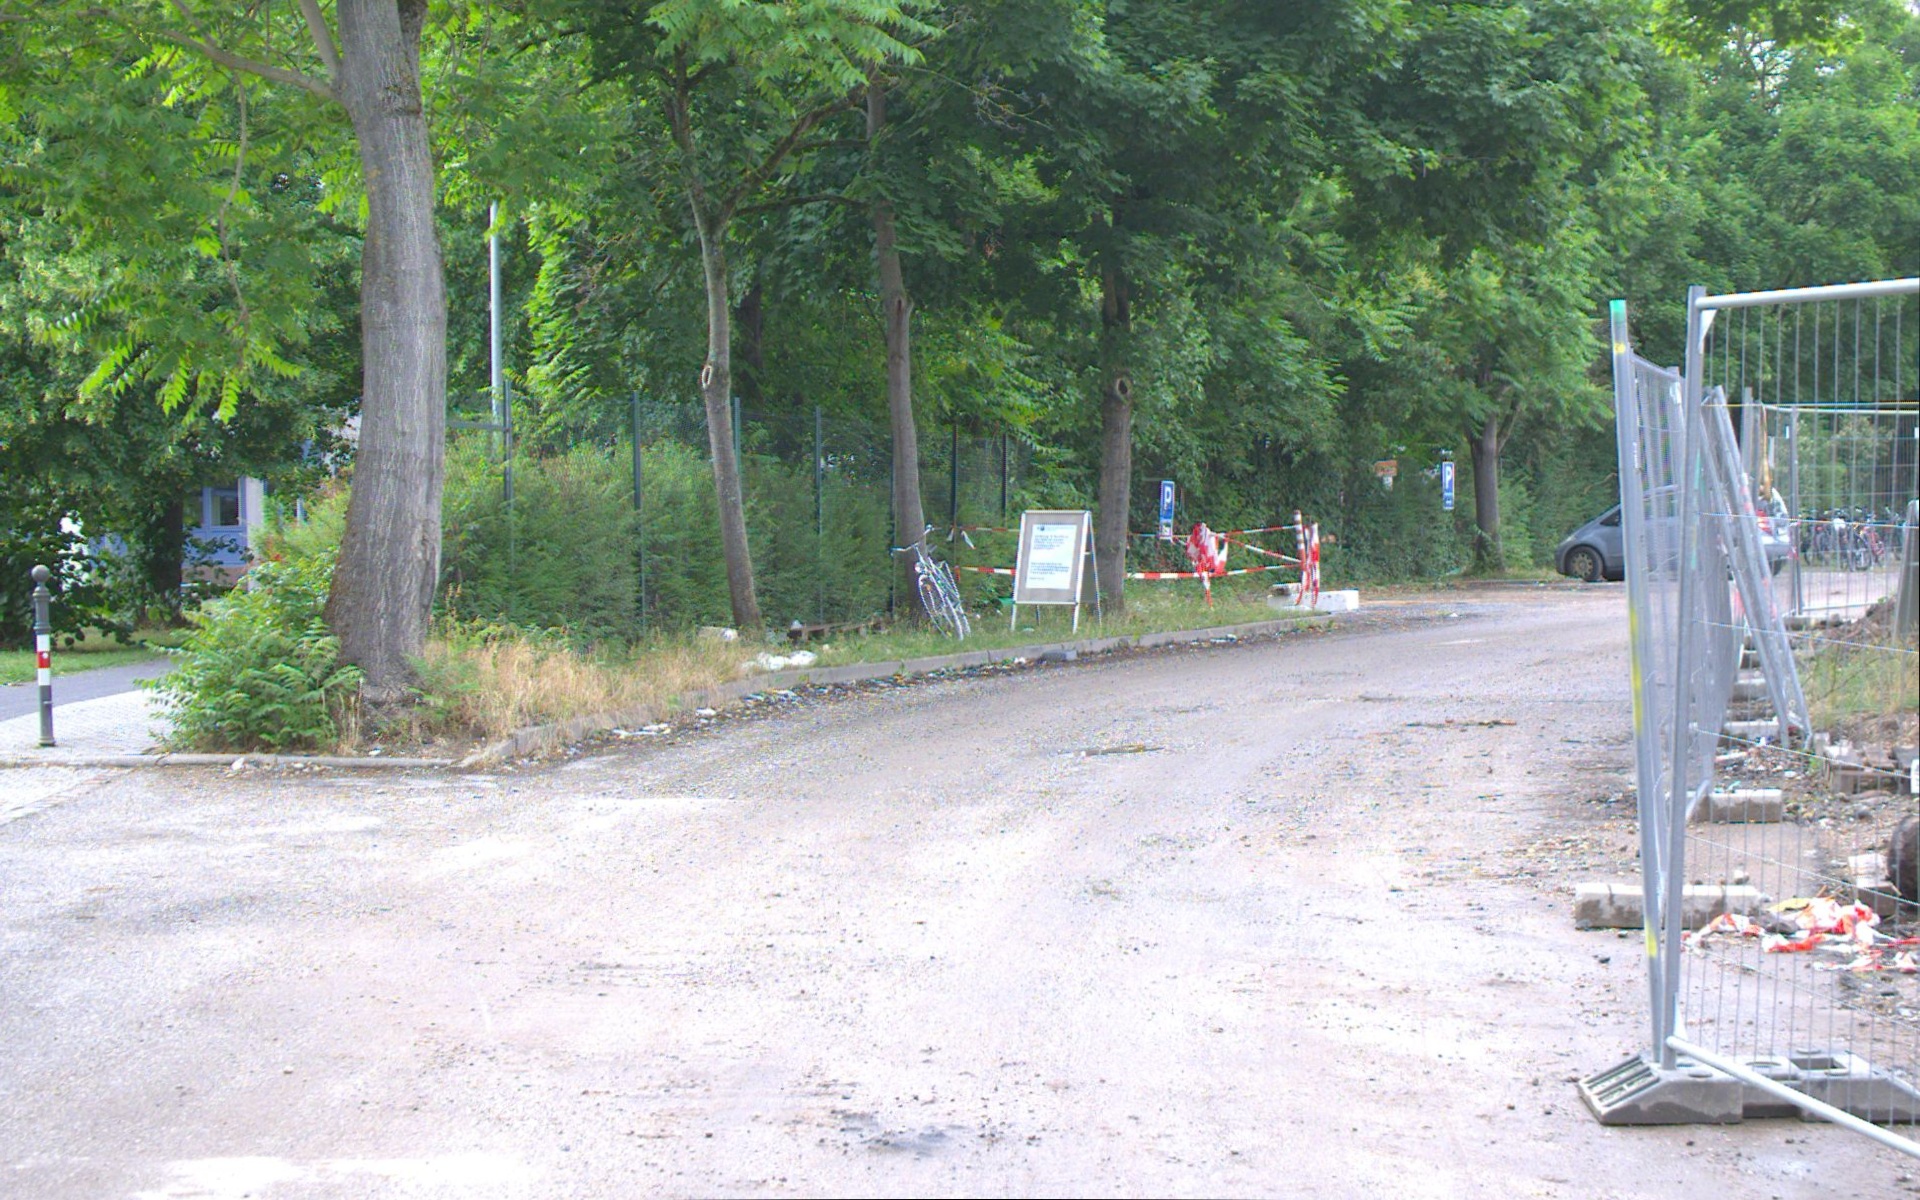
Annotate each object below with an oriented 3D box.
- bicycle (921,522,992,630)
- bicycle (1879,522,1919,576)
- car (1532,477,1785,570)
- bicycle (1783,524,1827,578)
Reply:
[{"bbox_3d":[-0.025,-0.215,29.766,0.419,0.902,1.153,0,2,10],"label":"bicycle"},{"bbox_3d":[17.751,-0.970,64.886,0.771,0.974,2.030,0,2,15],"label":"bicycle"},{"bbox_3d":[11.546,-1.268,56.843,3.705,1.495,1.865,0,2,29],"label":"car"},{"bbox_3d":[16.063,-0.933,65.310,0.771,0.974,2.030,0,2,15],"label":"bicycle"}]
